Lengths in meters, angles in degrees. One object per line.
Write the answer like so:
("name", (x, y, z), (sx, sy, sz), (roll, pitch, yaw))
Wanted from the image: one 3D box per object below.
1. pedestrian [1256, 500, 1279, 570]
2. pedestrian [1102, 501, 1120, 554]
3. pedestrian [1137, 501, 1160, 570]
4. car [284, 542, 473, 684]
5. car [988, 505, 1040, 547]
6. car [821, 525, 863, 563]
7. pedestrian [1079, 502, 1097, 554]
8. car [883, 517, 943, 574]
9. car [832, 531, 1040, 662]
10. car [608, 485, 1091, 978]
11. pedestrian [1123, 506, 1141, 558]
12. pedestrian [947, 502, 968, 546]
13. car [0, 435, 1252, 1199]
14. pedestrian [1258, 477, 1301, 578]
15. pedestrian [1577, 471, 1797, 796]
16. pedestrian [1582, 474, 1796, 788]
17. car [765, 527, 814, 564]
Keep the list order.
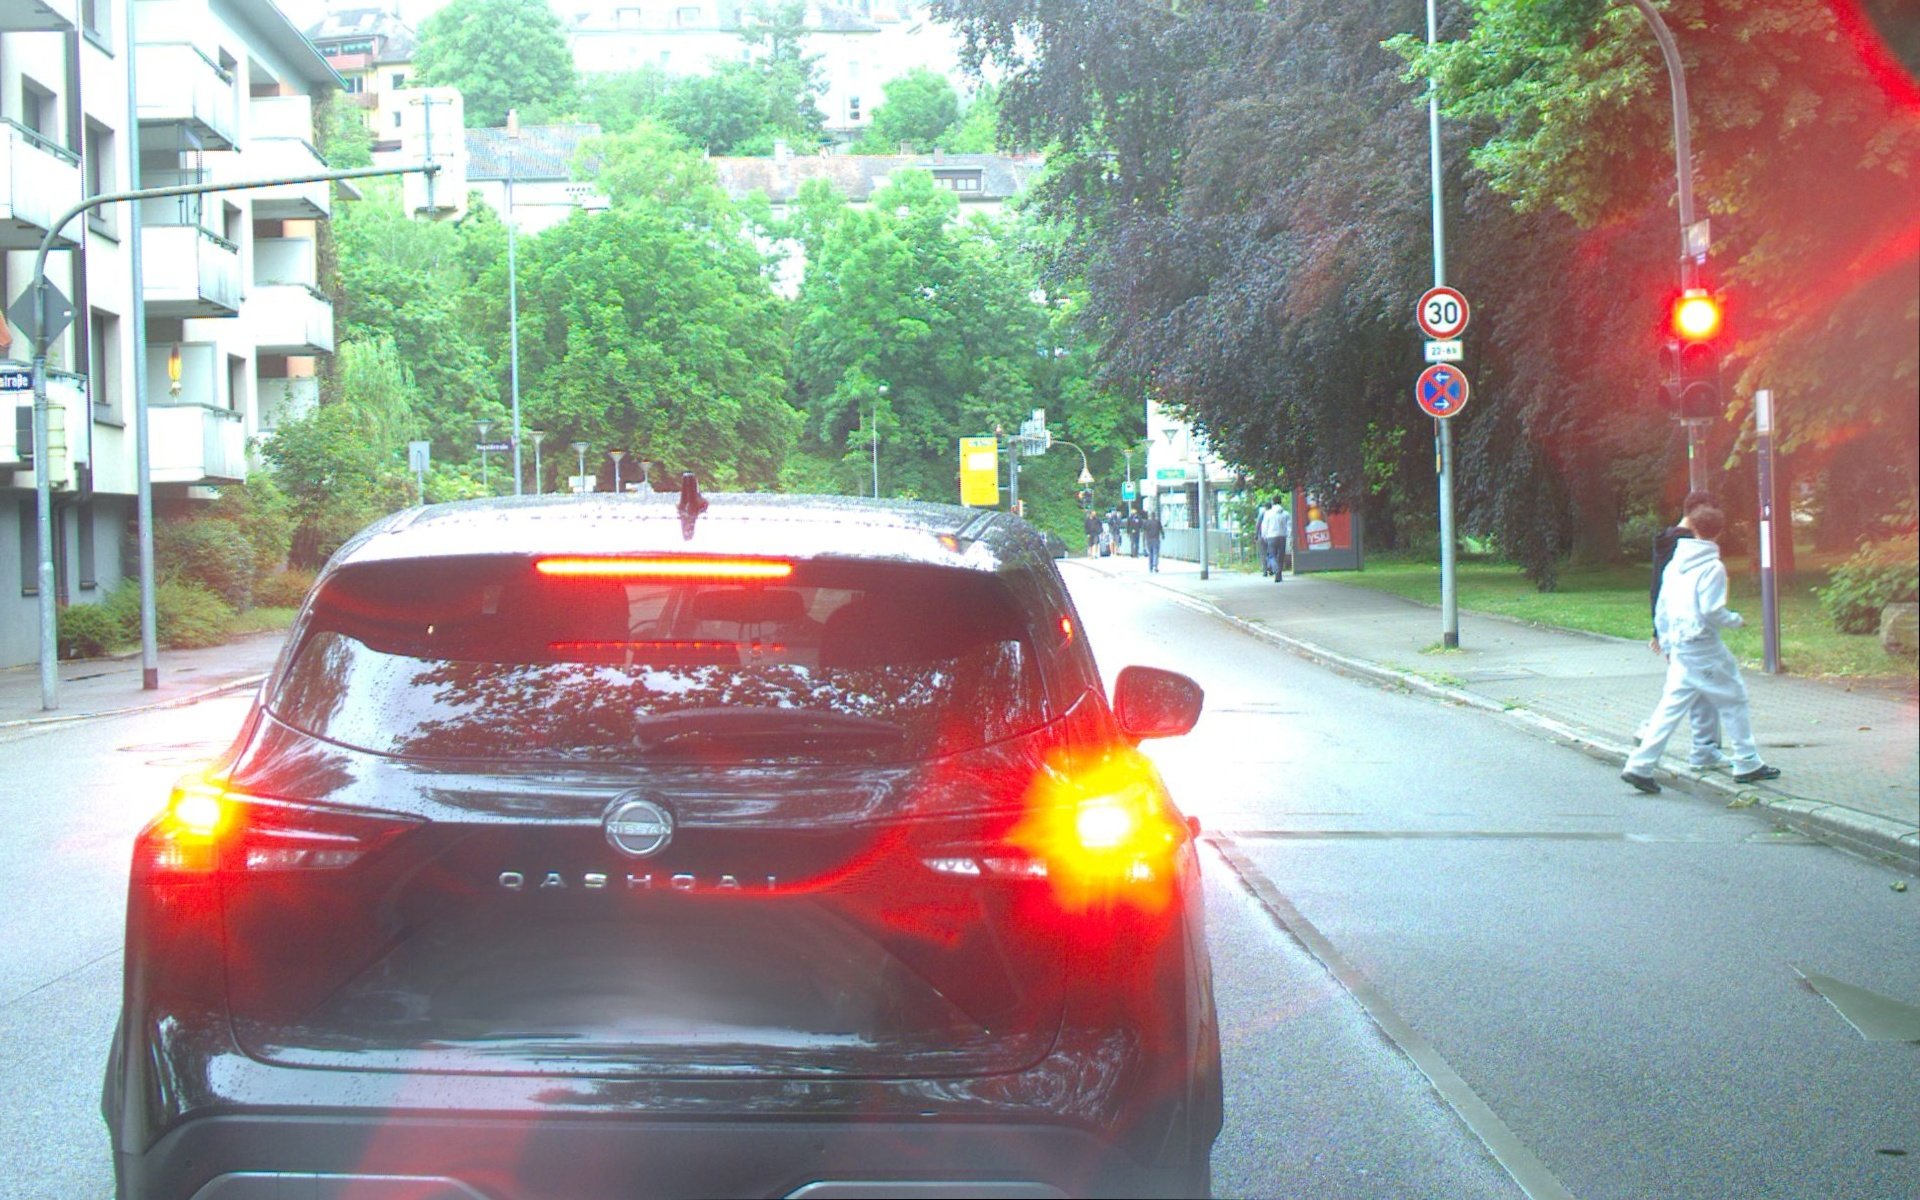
("pedestrian", (6.643, -1.410, 74.333), (0.390, 1.497, 0.559), (-2, 1, 0))
("pedestrian", (5.227, -2.515, 118.878), (0.508, 1.796, 0.659), (-2, 1, -3))
("pedestrian", (5.029, -1.723, 91.720), (0.508, 1.796, 0.619), (-2, 1, -1))
("car", (-6.867, 0.116, 40.916), (1.795, 1.528, 3.868), (-2, 1, -4))
("car", (2.369, -3.210, 149.474), (1.994, 1.729, 3.999), (1, 1, 4))
("car", (-5.033, -2.413, 146.640), (1.634, 1.527, 3.968), (-2, 1, -1))
("pedestrian", (4.456, -2.496, 119.792), (0.508, 1.796, 0.619), (-2, 1, -1))
("car", (-1.336, -1.570, 98.641), (1.634, 1.527, 3.968), (-2, 1, -1))
("car", (-0.224, -0.086, 41.457), (1.826, 1.399, 4.649), (-2, 1, 8))
("car", (-0.422, 0.442, 14.364), (1.698, 1.739, 3.641), (-2, 1, -1))
("pedestrian", (5.982, -2.370, 119.524), (0.508, 1.796, 0.619), (-2, 1, -2))
("pedestrian", (-0.098, -2.988, 135.166), (0.509, 1.667, 0.658), (-2, 1, 27))
("car", (-0.551, 0.557, 7.027), (1.913, 1.674, 4.000), (0, 1, 0))
("pedestrian", (6.446, -1.468, 69.437), (0.725, 2.007, 0.851), (-2, 1, 0))
("pedestrian", (4.375, 0.190, 20.722), (1.035, 1.869, 0.658), (-4, 1, -11))
("pedestrian", (4.548, 0.184, 21.474), (1.035, 1.869, 0.658), (-4, 1, -11))
("car", (-7.624, -2.457, 154.224), (1.970, 1.527, 3.968), (-2, 1, -1))
